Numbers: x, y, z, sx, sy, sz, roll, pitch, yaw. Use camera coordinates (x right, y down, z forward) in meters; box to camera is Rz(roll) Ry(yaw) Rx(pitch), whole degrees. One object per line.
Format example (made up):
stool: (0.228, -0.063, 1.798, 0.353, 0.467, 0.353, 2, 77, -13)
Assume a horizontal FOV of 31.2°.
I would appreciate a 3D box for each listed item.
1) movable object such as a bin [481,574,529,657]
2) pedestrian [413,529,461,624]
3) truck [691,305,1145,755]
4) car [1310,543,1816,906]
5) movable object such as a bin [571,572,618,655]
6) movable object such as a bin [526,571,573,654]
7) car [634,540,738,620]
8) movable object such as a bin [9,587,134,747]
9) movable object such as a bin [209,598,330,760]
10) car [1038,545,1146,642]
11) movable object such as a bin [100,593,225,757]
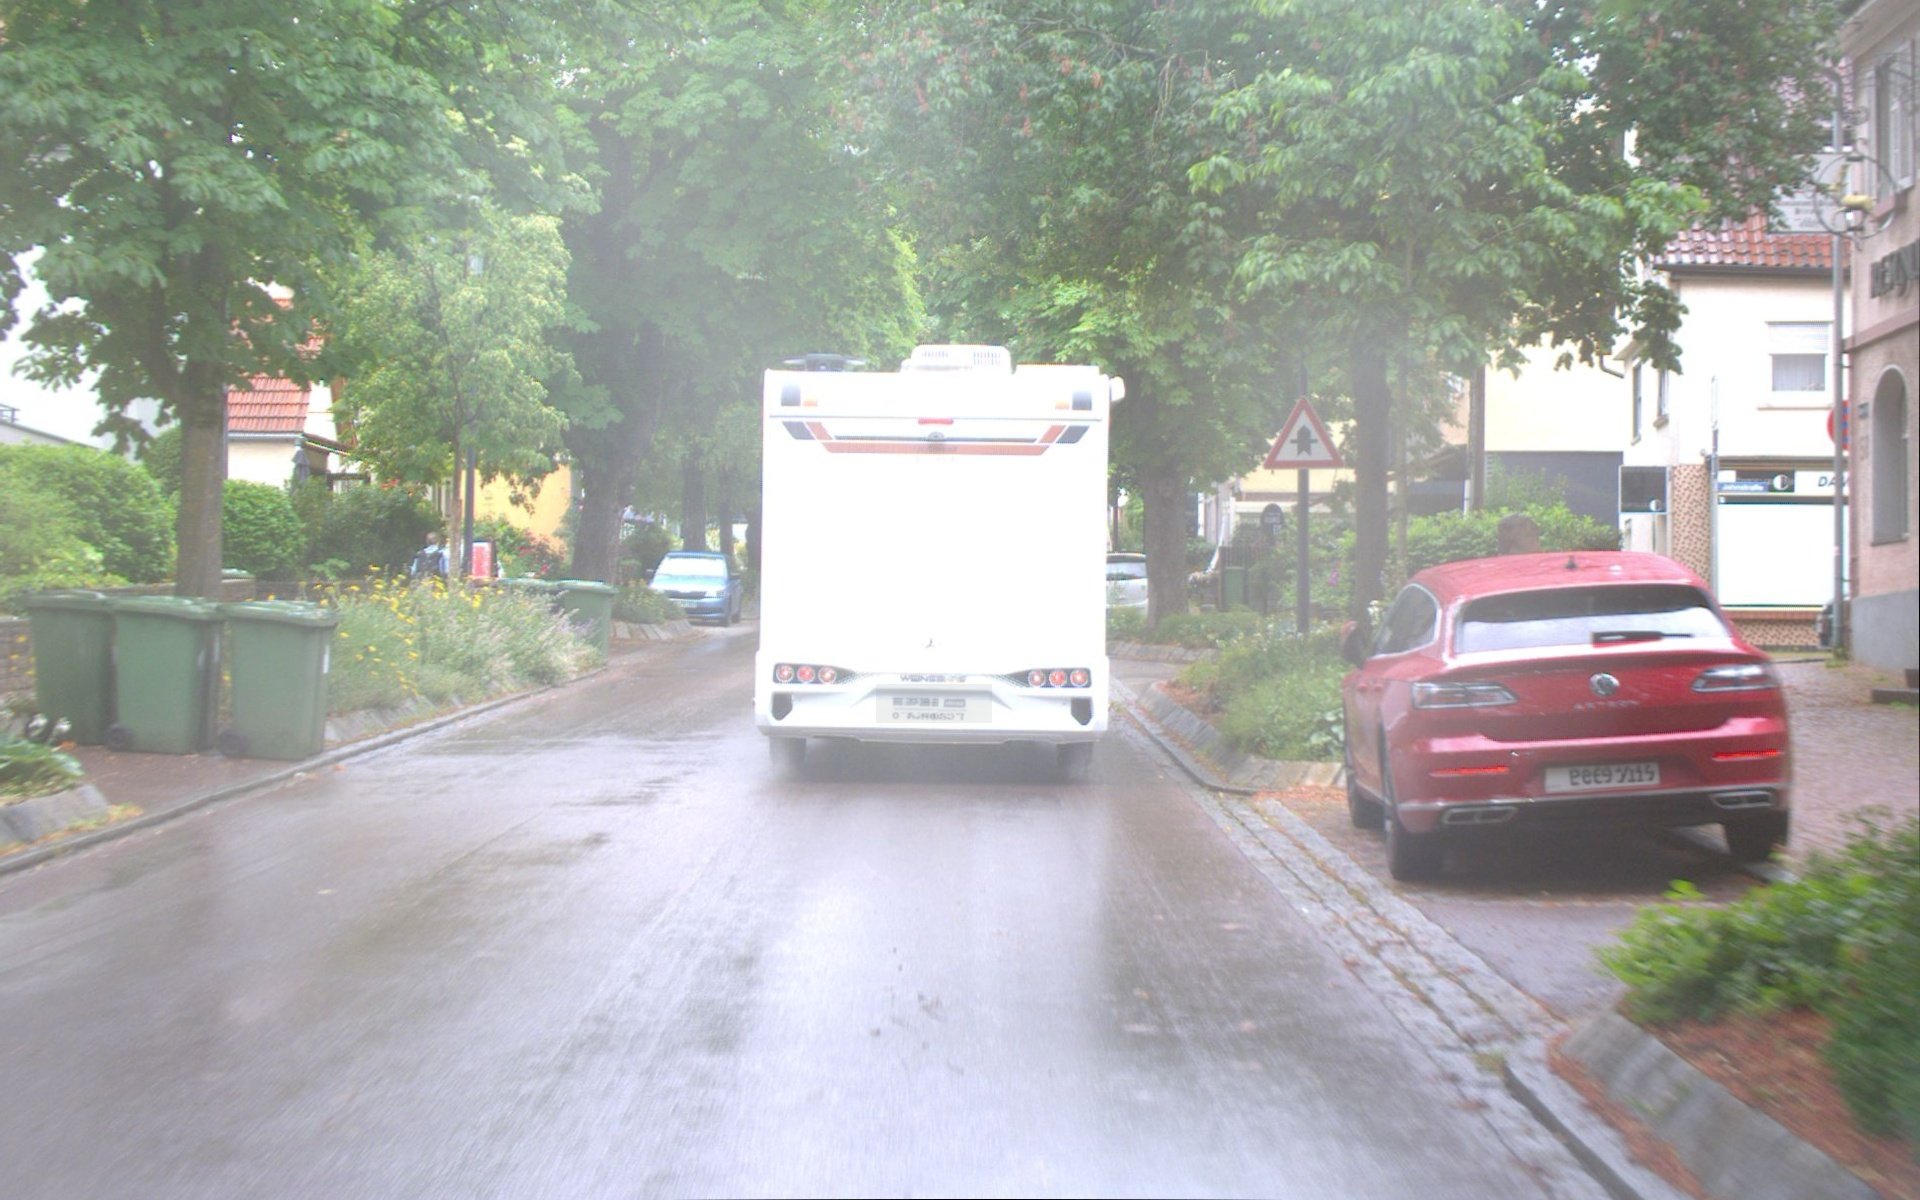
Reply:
movable object such as a bin: (-5.850, 0.198, 44.207, 0.528, 1.055, 0.562, -1, 0, 0)
pedestrian: (-10.207, -0.464, 67.090, 0.817, 1.838, 0.770, -1, 0, -1)
truck: (-0.295, -0.435, 24.505, 2.805, 2.787, 6.107, -1, 0, -1)
car: (2.786, 0.492, 16.827, 1.855, 1.467, 4.365, 2, 1, 3)
movable object such as a bin: (-4.707, 0.170, 44.262, 0.528, 1.055, 0.562, -1, 0, 0)
movable object such as a bin: (-5.274, 0.161, 44.219, 0.528, 1.055, 0.562, -1, 0, 0)
car: (-5.535, -0.379, 69.106, 1.797, 1.547, 4.001, -1, 0, -8)
movable object such as a bin: (-6.247, 0.466, 24.207, 0.670, 1.101, 0.817, 0, 0, -1)
movable object such as a bin: (-4.735, 0.534, 23.621, 0.670, 1.091, 0.817, 0, 0, -1)
car: (2.154, -0.101, 56.720, 1.649, 1.536, 3.530, -1, 0, 0)
movable object such as a bin: (-5.457, 0.503, 23.568, 0.670, 1.101, 0.817, 0, 0, -1)
